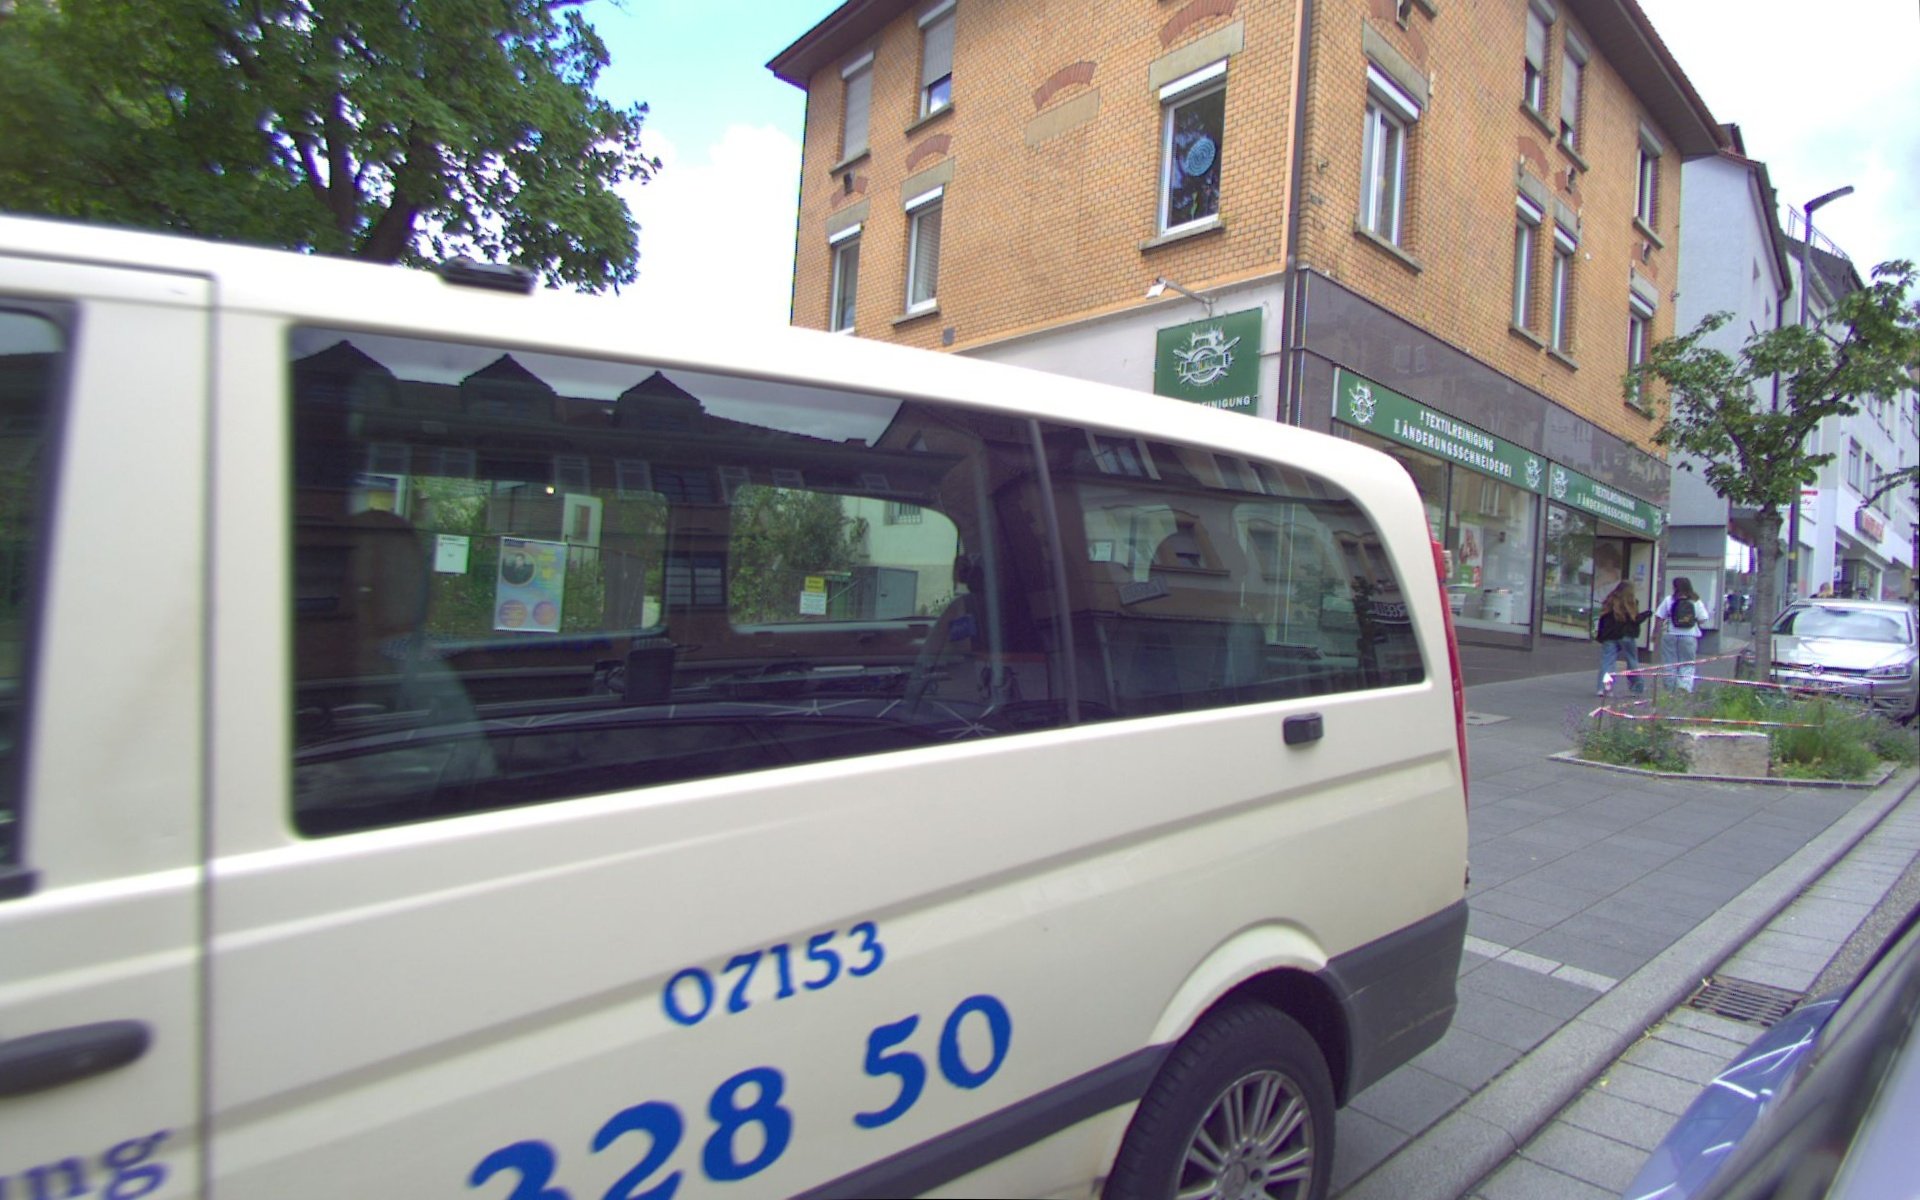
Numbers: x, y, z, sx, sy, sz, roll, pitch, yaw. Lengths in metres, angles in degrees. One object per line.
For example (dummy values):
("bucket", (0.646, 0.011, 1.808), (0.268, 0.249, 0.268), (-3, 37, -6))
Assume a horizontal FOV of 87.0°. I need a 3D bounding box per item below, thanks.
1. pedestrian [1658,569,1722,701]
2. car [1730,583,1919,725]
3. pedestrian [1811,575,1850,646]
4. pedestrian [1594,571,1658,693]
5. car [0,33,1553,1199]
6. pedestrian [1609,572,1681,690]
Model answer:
("pedestrian", (9.422, 0.432, 13.077), (0.564, 1.622, 0.519), (4, 3, 36))
("car", (11.599, 0.590, 13.061), (3.877, 1.465, 1.816), (0, 4, -41))
("pedestrian", (19.589, 0.227, 22.768), (0.566, 1.558, 0.517), (5, 4, 43))
("pedestrian", (8.815, 0.399, 13.390), (0.554, 1.539, 0.584), (5, 3, 40))
("car", (-1.165, 0.426, 1.768), (4.935, 1.870, 1.892), (1, 2, -35))
("pedestrian", (9.404, 0.410, 13.915), (0.558, 1.558, 0.524), (3, 3, 11))
